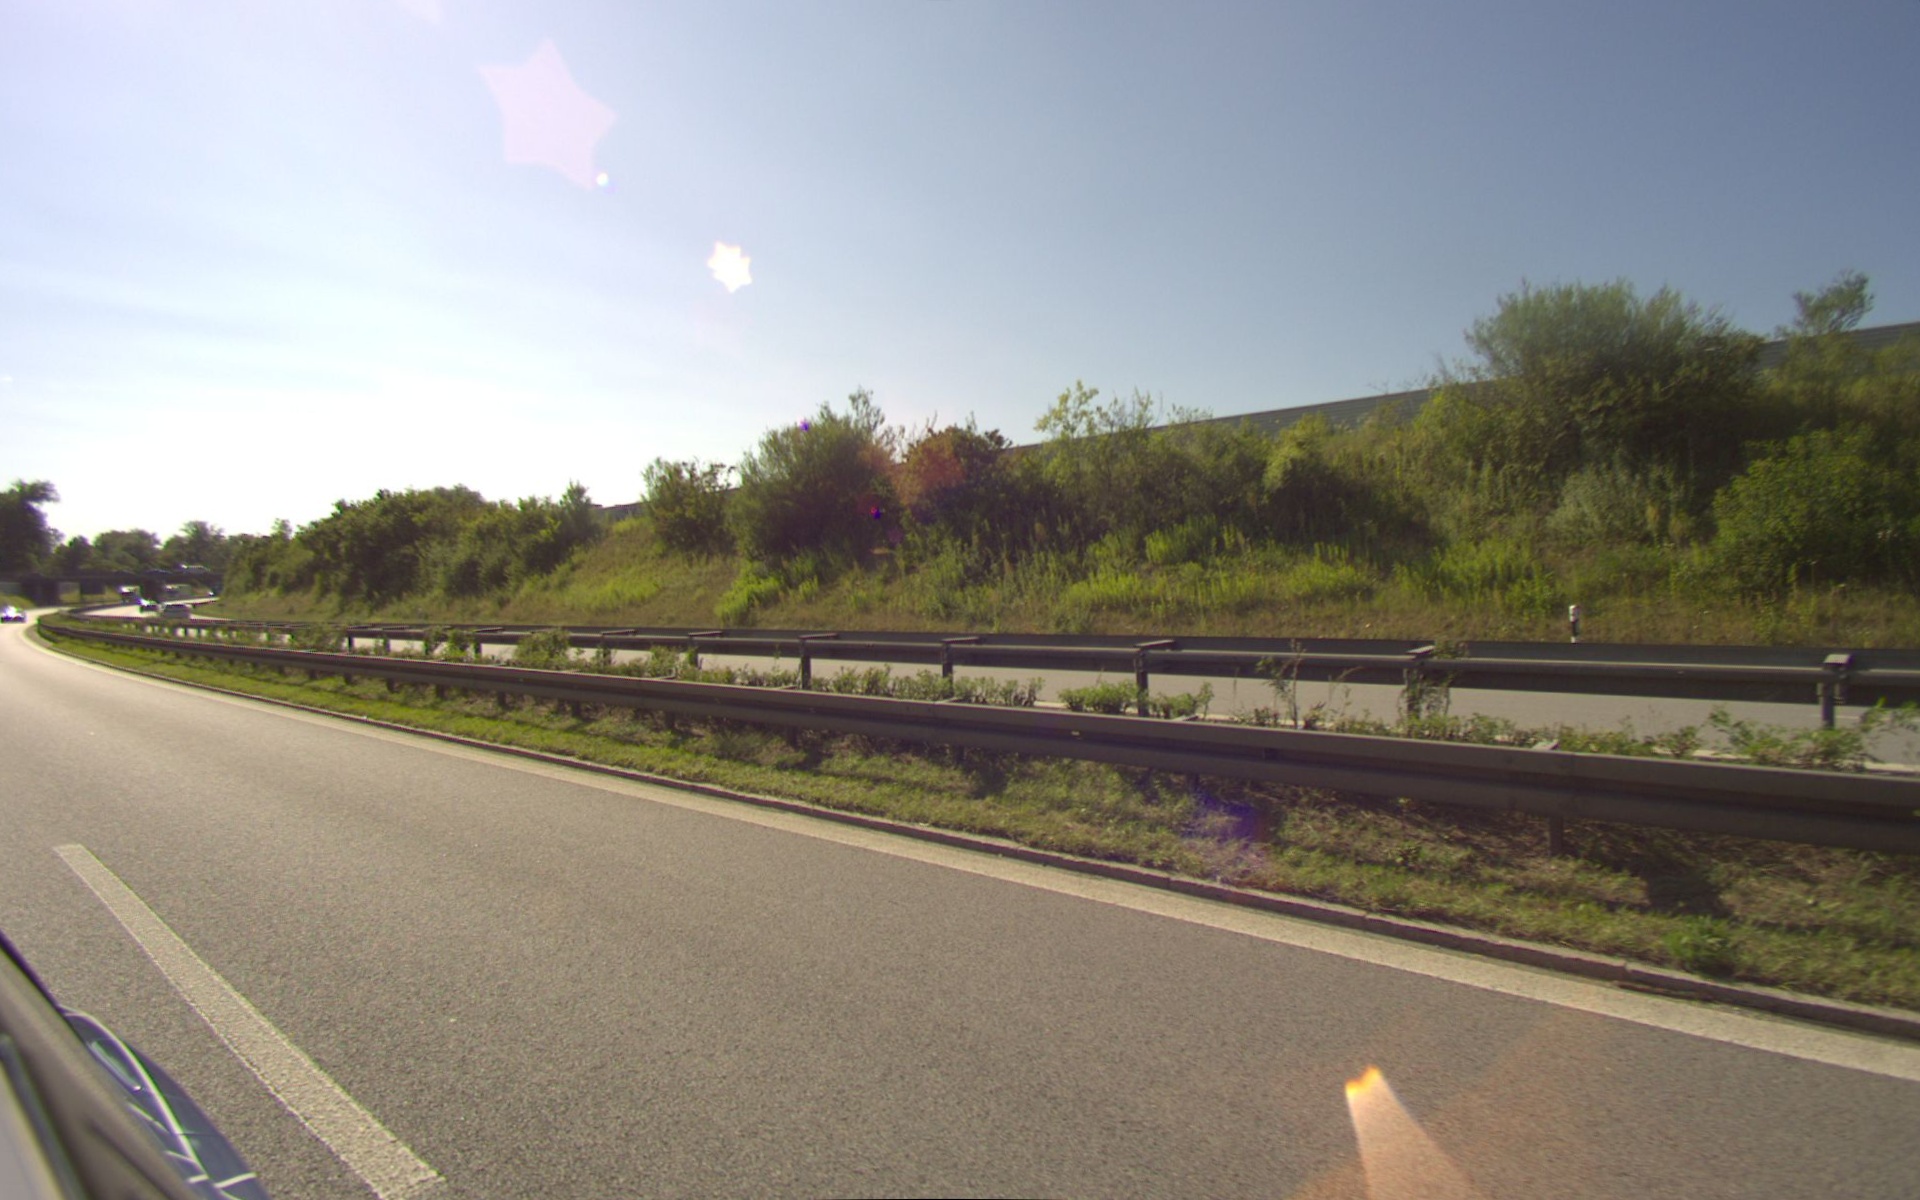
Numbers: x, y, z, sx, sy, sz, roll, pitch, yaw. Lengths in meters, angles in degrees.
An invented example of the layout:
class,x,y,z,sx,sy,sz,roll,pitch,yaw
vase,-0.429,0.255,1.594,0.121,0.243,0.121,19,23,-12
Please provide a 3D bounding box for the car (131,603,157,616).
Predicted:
class,x,y,z,sx,sy,sz,roll,pitch,yaw
car,-100.114,1.142,124.165,1.944,1.576,5.177,0,0,-44

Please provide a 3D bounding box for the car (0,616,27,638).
class,x,y,z,sx,sy,sz,roll,pitch,yaw
car,-92.740,2.612,98.968,1.970,2.028,4.603,-4,3,-44

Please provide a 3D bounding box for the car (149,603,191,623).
class,x,y,z,sx,sy,sz,roll,pitch,yaw
car,-58.840,0.989,75.335,4.399,1.433,1.879,-1,-1,43
